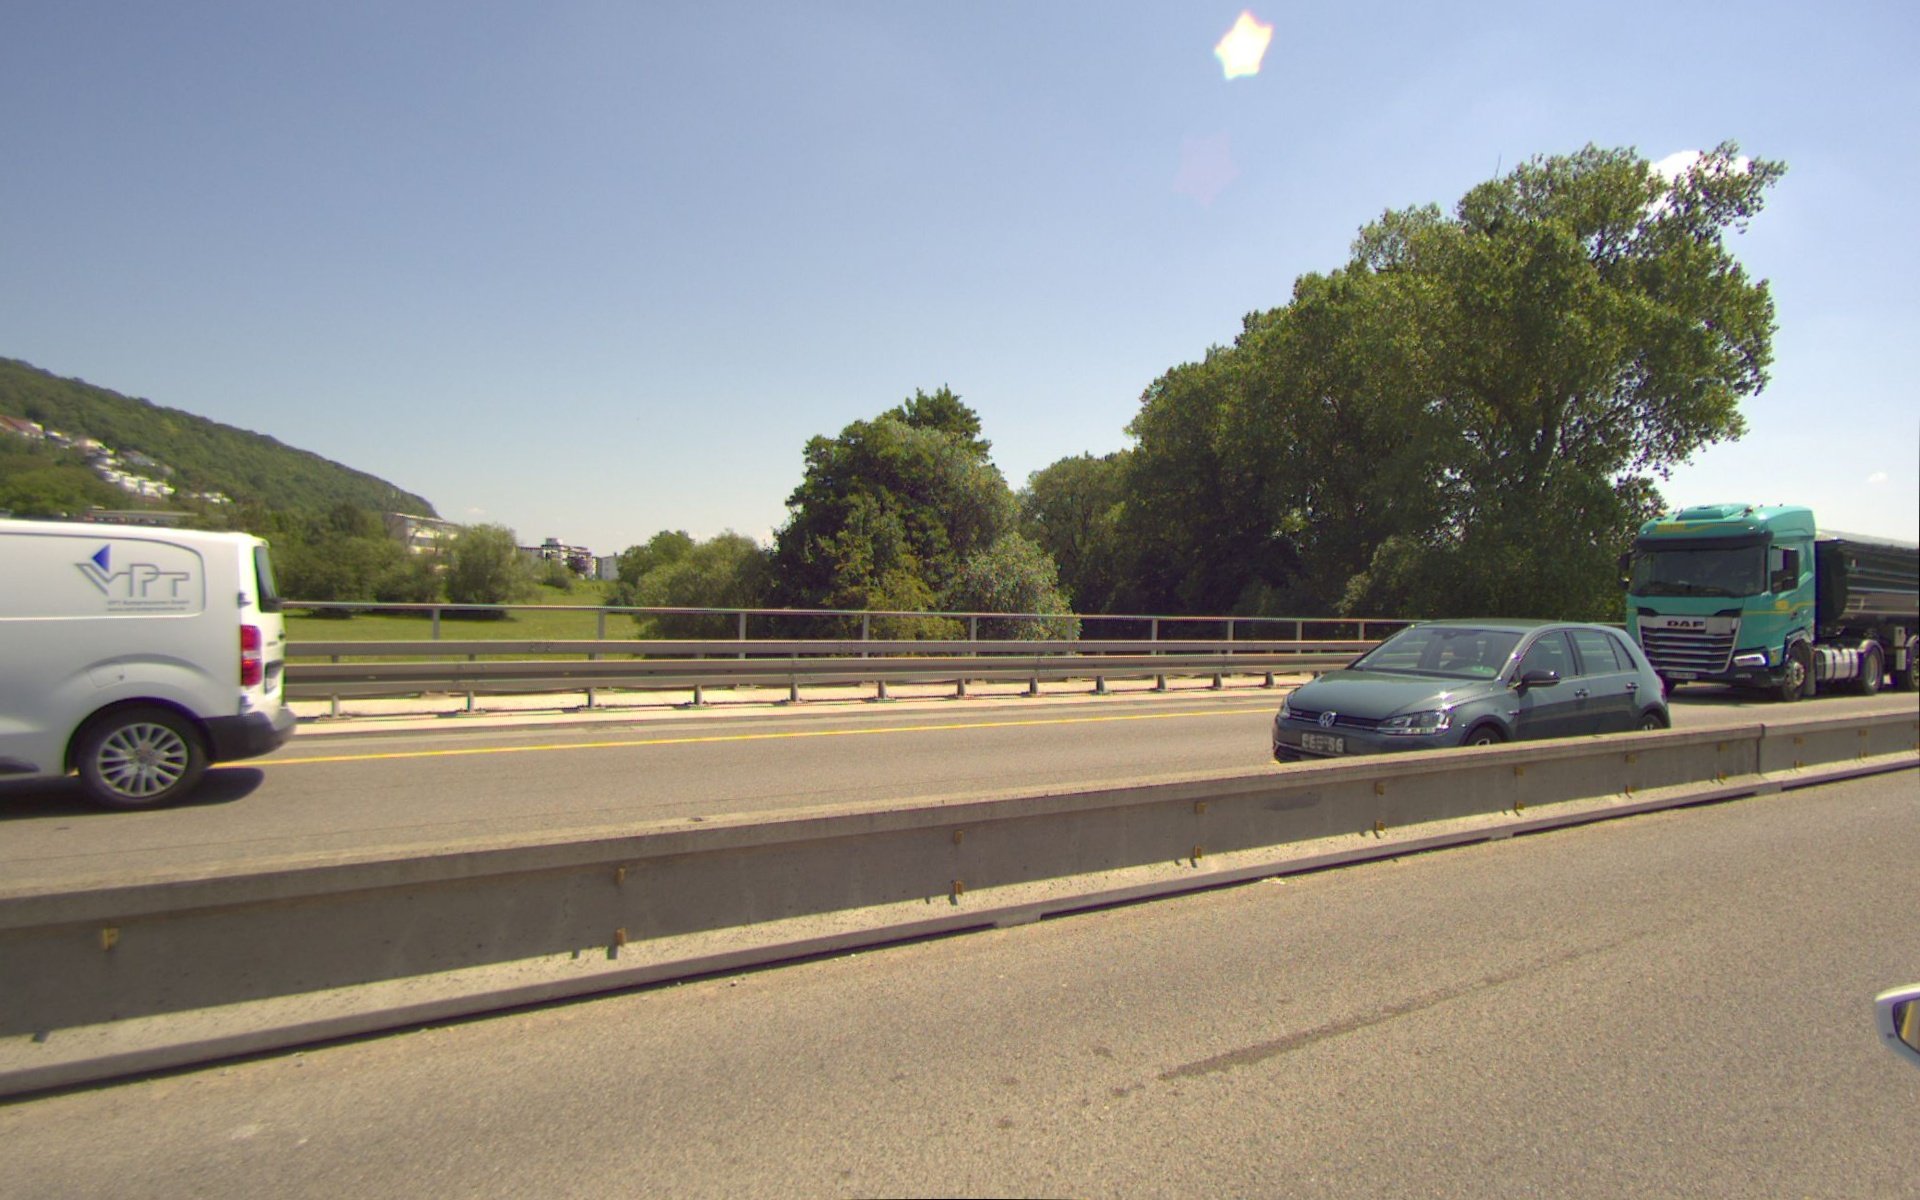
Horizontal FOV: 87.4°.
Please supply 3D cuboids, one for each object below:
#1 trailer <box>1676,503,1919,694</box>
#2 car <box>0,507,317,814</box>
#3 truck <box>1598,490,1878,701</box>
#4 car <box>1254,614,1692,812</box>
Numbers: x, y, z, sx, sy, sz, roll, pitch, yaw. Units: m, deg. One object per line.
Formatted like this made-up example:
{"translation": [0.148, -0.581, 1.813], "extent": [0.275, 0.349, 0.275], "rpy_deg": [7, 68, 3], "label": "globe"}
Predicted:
{"translation": [20.153, 0.055, 23.109], "extent": [8.856, 3.721, 2.779], "rpy_deg": [1, 0, -32], "label": "trailer"}
{"translation": [-7.011, 0.371, 6.618], "extent": [4.576, 1.892, 1.849], "rpy_deg": [1, -1, -31], "label": "car"}
{"translation": [15.885, -0.035, 20.477], "extent": [5.313, 3.771, 2.782], "rpy_deg": [1, 0, -31], "label": "truck"}
{"translation": [4.682, 0.866, 9.022], "extent": [4.056, 1.427, 1.623], "rpy_deg": [1, -2, -31], "label": "car"}
